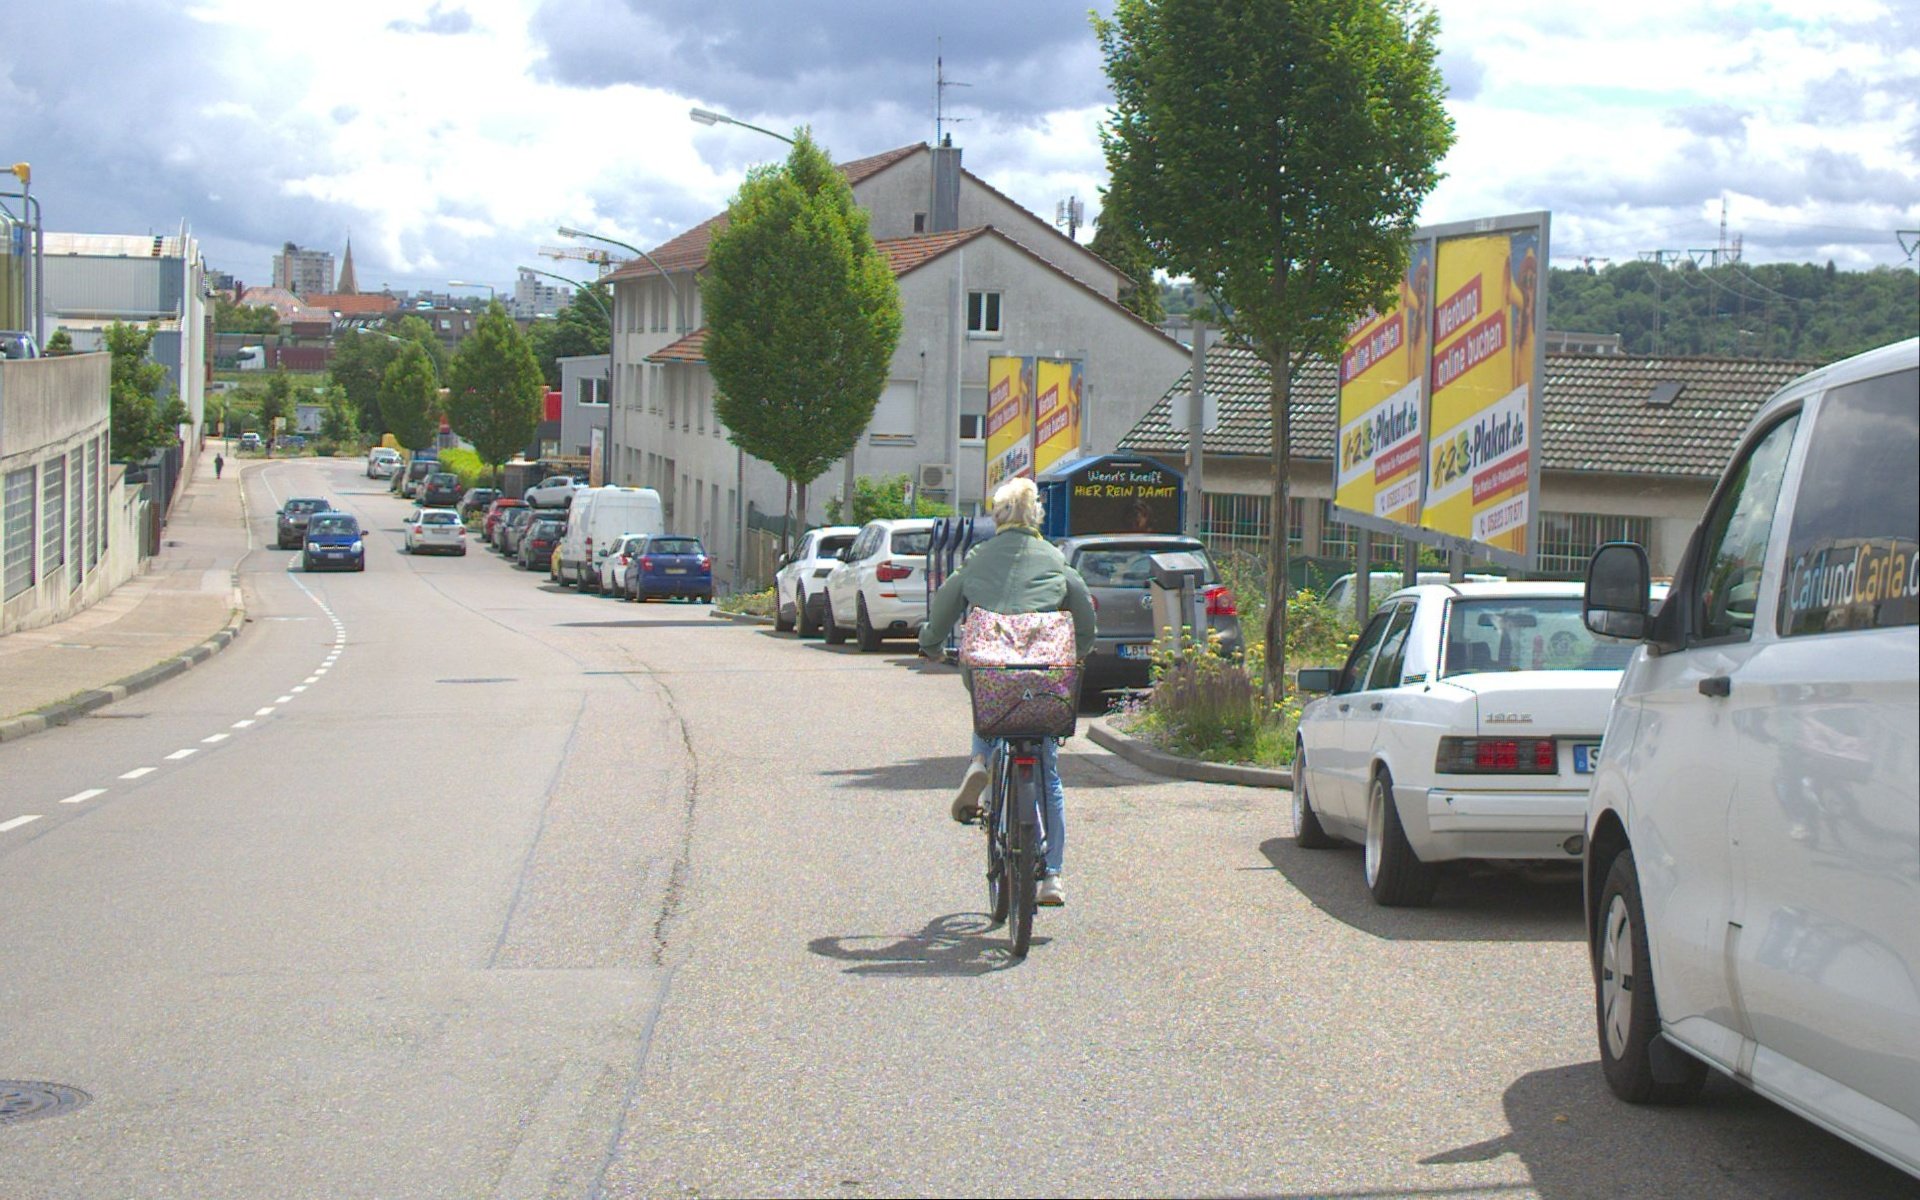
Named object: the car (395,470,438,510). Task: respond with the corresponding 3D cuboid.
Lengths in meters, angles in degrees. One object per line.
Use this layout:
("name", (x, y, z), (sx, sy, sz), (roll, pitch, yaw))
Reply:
("car", (-27.982, -5.678, 177.062), (1.868, 1.983, 5.146), (1, 2, -12))

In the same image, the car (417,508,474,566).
("car", (-16.448, -2.008, 109.795), (1.566, 1.780, 3.607), (1, 1, -12))

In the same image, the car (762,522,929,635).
("car", (-1.727, -0.342, 50.383), (1.841, 1.560, 4.467), (-1, 1, -10))

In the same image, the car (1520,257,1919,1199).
("car", (2.709, 0.368, 7.486), (1.975, 1.997, 5.547), (1, 1, -1))

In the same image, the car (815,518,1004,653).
("car", (-0.709, -0.217, 44.611), (1.685, 1.653, 4.481), (0, 1, -11))

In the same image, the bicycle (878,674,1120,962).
("bicycle", (0.116, 0.779, 12.832), (0.740, 0.972, 1.732), (1, -1, -4))

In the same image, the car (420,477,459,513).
("car", (-24.643, -4.967, 162.603), (1.679, 1.632, 4.124), (1, 2, -10))

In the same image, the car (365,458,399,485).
("car", (-37.025, -8.253, 220.193), (1.700, 1.522, 3.740), (4, 2, -16))

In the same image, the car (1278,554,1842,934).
("car", (2.473, 0.521, 15.153), (1.637, 1.382, 4.205), (1, 1, -1))

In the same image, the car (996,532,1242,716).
("car", (1.323, 0.159, 30.098), (1.655, 1.480, 4.045), (-1, 1, -4))

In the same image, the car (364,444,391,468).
("car", (-39.089, -9.668, 230.780), (1.700, 1.522, 3.739), (1, 2, -10))

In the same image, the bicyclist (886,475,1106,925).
("bicyclist", (0.123, 0.360, 12.831), (0.739, 1.621, 0.731), (1, 1, -3))

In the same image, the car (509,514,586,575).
("car", (-12.424, -1.682, 103.270), (1.704, 1.504, 5.090), (3, 3, -13))

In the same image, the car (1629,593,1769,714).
("car", (11.492, 0.798, 53.672), (1.750, 1.679, 4.678), (-1, 2, 8))

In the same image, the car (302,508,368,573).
("car", (-17.937, -1.707, 98.630), (1.626, 1.811, 3.781), (0, 1, -14))

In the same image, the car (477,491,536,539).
("car", (-15.915, -2.985, 120.456), (1.734, 1.467, 4.263), (1, 3, -11))

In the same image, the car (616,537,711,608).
("car", (-6.613, -0.631, 76.389), (1.566, 1.505, 4.095), (1, 1, -12))

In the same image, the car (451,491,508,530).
("car", (-19.108, -3.567, 136.538), (1.790, 1.460, 4.710), (1, 2, -13))

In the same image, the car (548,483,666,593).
("car", (-9.006, -1.573, 87.174), (2.032, 2.632, 7.285), (1, 1, -13))

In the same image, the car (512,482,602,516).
("car", (-18.421, -4.606, 157.227), (4.071, 1.457, 1.721), (1, 4, 40))

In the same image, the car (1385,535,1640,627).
("car", (9.684, -0.359, 60.400), (4.039, 1.385, 1.740), (4, 4, 38))

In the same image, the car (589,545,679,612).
("car", (-7.727, -0.525, 81.295), (1.592, 1.505, 3.791), (1, 1, -13))
